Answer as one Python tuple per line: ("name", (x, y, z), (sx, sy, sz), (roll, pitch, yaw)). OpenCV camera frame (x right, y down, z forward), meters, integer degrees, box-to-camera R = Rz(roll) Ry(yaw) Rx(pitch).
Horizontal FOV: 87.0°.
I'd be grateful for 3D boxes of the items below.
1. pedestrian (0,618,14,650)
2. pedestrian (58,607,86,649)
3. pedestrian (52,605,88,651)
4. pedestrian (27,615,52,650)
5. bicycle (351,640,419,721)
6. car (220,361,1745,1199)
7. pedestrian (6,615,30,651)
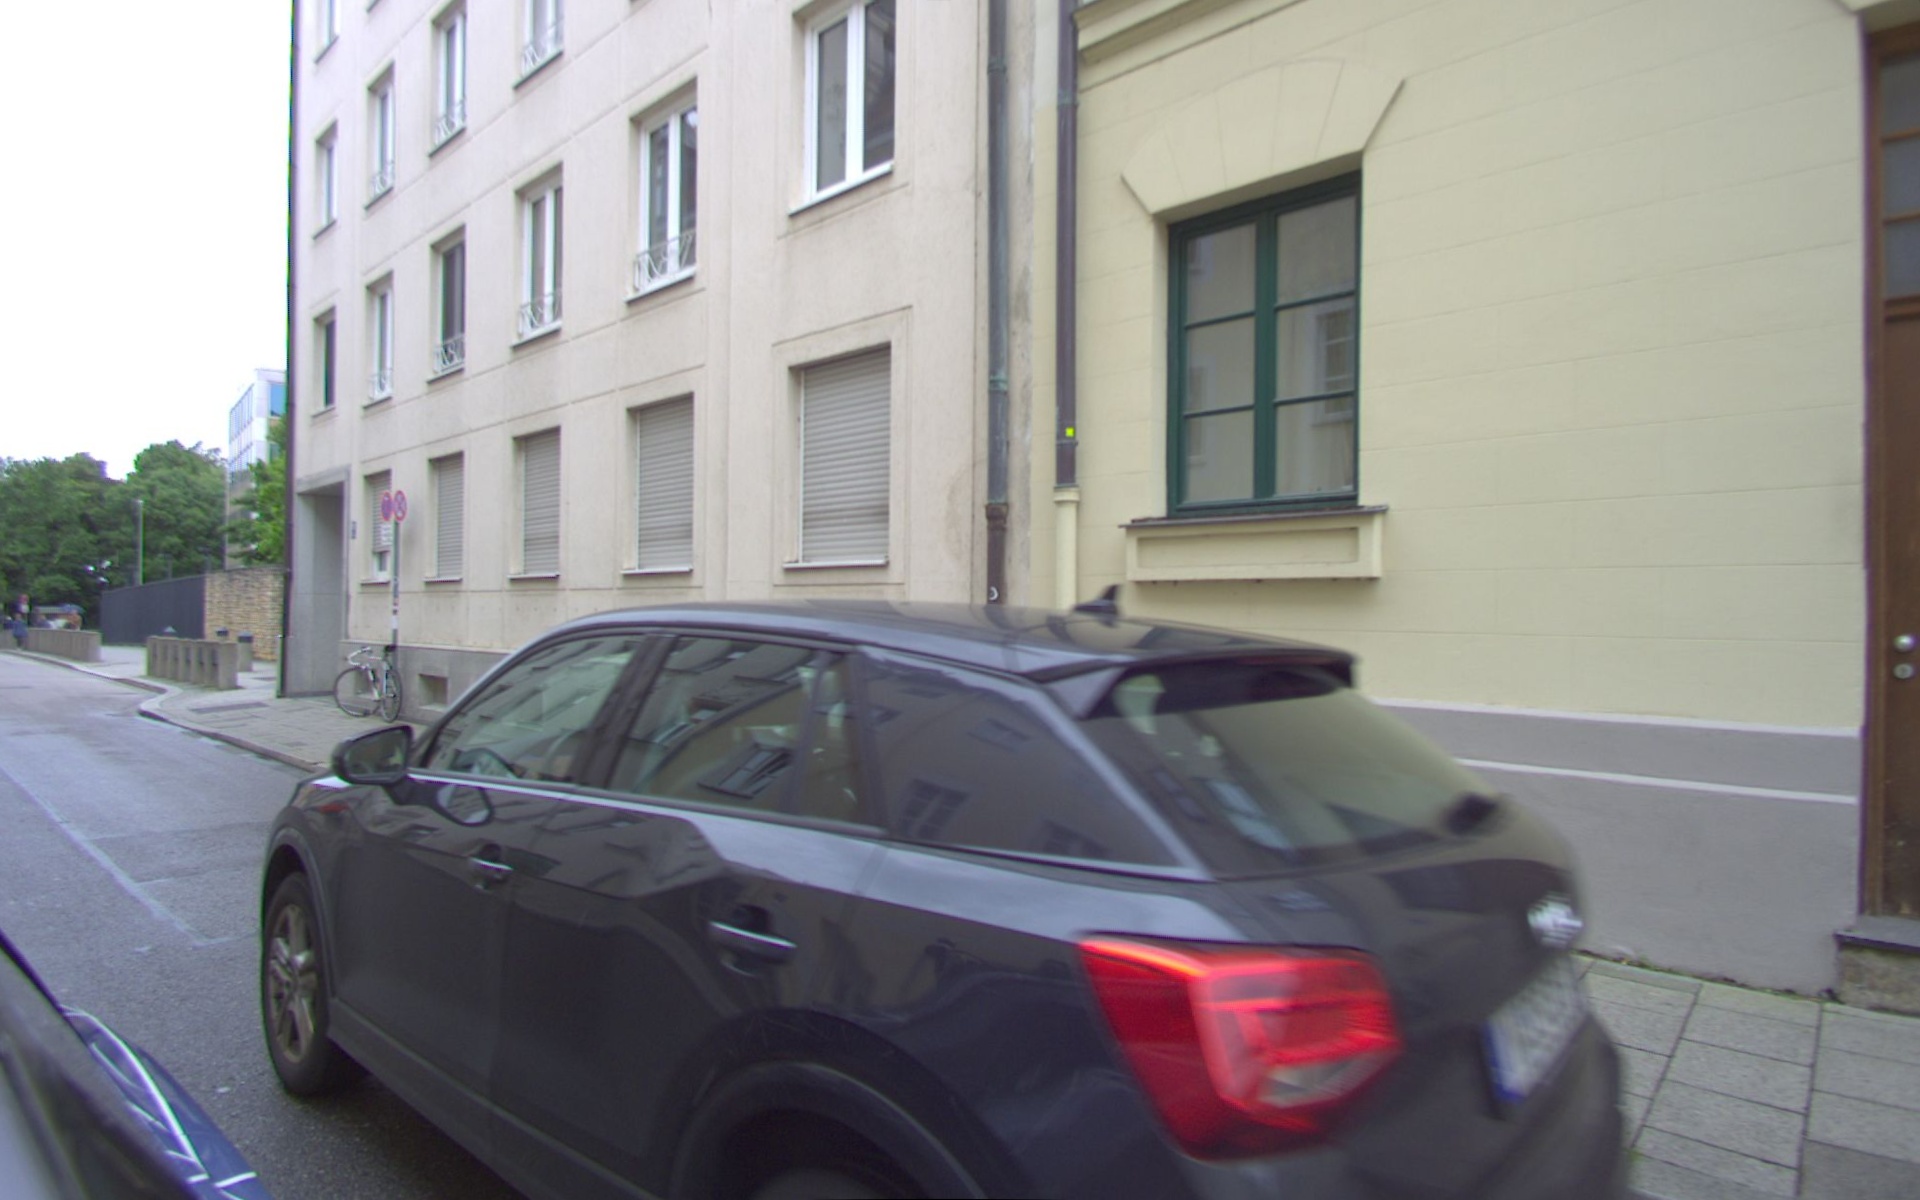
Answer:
("pedestrian", (-52.817, 1.891, 56.002), (0.766, 1.782, 0.617), (-2, -2, 42))
("pedestrian", (-37.502, 1.165, 42.730), (0.814, 1.736, 0.906), (-2, 0, -43))
("pedestrian", (-41.752, 1.307, 47.478), (1.117, 2.120, 1.209), (-2, -2, 44))
("pedestrian", (-42.056, 1.495, 46.264), (0.767, 1.551, 0.934), (-2, 0, -40))
("bicycle", (-7.494, 1.023, 13.164), (1.574, 0.951, 0.316), (-1, 2, 44))
("car", (-0.426, 0.642, 2.790), (3.998, 1.606, 1.793), (-1, -1, 41))
("pedestrian", (-38.960, 1.362, 41.846), (1.079, 1.478, 0.631), (-2, 0, 43))
